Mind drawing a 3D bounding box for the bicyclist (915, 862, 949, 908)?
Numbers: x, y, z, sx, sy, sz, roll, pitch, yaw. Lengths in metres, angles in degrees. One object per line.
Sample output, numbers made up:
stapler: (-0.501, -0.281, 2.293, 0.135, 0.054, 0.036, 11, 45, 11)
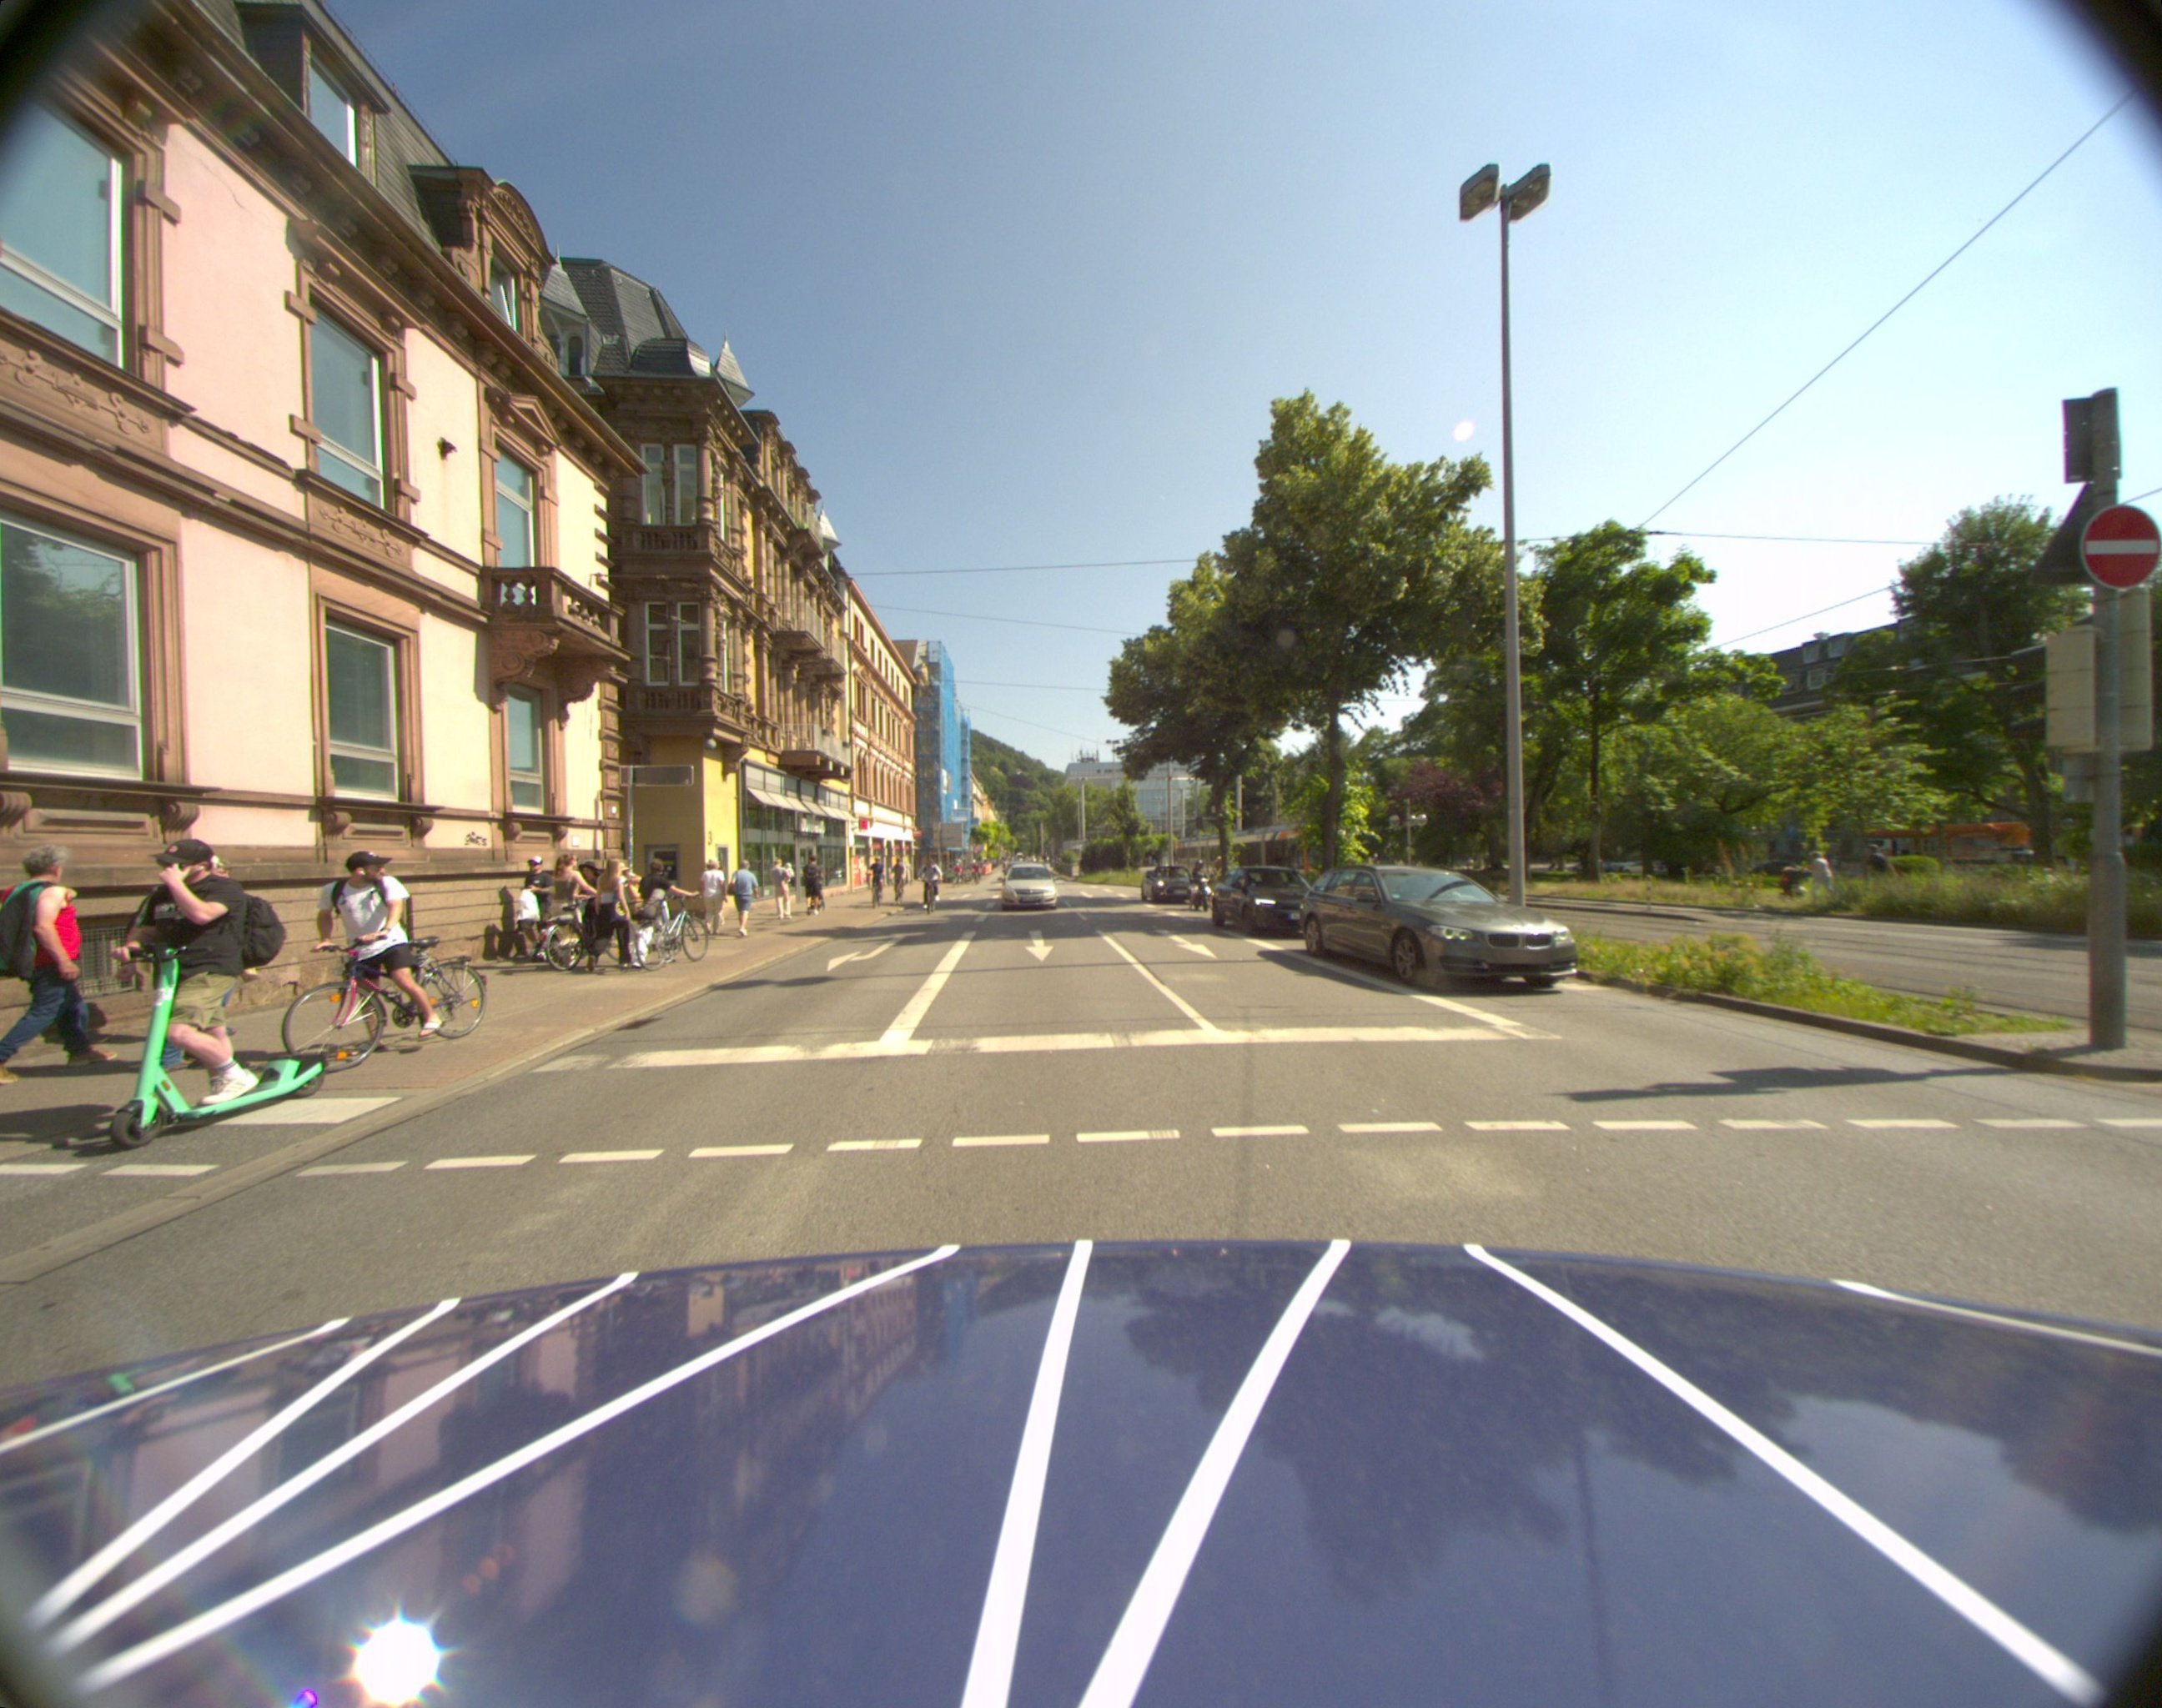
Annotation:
bicyclist: (-4.656, 0.940, 23.768, 0.913, 1.385, 1.232, 0, 0, -5)

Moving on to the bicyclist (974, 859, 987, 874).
bicyclist: (-7.156, 0.890, 54.202, 0.913, 1.076, 1.232, 0, 0, -5)

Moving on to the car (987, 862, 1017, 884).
car: (-5.966, 1.396, 57.834, 1.999, 1.564, 3.999, -2, 0, -3)

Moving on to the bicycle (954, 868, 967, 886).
bicycle: (-7.734, 1.460, 48.723, 0.643, 1.076, 2.495, 0, 0, -5)

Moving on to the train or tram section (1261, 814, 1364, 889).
train or tram section: (11.120, -0.091, 37.082, 2.768, 3.383, 5.884, 0, 0, -5)

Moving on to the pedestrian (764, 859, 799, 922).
pedestrian: (-8.240, 0.994, 20.900, 0.707, 1.685, 0.628, 0, 1, -2)

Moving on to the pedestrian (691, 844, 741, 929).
pedestrian: (-8.919, 0.780, 18.570, 0.814, 2.002, 0.815, 2, 0, -5)

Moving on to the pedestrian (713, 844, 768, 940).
pedestrian: (-7.375, 0.805, 16.479, 0.814, 2.002, 0.815, 2, 0, -5)

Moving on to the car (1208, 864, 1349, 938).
car: (4.121, 0.934, 16.563, 1.798, 1.403, 3.999, 0, -1, -4)

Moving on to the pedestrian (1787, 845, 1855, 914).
pedestrian: (21.673, 0.737, 22.275, 1.224, 2.002, 0.802, 0, 0, 2)

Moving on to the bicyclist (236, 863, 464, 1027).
bicyclist: (-5.878, 0.688, 6.191, 0.923, 1.212, 0.971, 0, 0, -5)

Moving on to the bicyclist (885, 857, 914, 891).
bicyclist: (-6.895, 0.751, 28.905, 0.913, 1.227, 1.232, -1, 0, -5)

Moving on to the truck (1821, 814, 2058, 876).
truck: (64.724, -0.615, 58.038, 3.633, 4.237, 11.801, 0, 0, -10)

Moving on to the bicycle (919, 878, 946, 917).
bicycle: (-4.632, 1.324, 23.785, 0.644, 1.076, 2.495, 0, 0, -7)

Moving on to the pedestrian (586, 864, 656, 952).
pedestrian: (-8.675, 0.998, 14.367, 0.814, 1.593, 0.815, 2, 0, -5)

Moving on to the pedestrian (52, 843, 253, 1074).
pedestrian: (-8.139, 0.864, 6.712, 0.636, 1.880, 0.903, -2, 0, -6)

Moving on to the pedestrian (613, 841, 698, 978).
pedestrian: (-6.462, 0.821, 11.591, 0.814, 2.002, 0.815, 2, 0, -5)

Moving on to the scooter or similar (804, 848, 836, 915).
scooter or similar: (-8.061, 0.836, 23.501, 0.694, 2.002, 1.095, 0, 0, -5)

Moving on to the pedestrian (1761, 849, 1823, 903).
pedestrian: (21.728, 0.670, 23.235, 1.038, 1.610, 0.934, 0, 0, 2)

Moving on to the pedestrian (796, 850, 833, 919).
pedestrian: (-7.912, 0.895, 22.608, 0.814, 2.002, 0.815, 2, 0, -5)

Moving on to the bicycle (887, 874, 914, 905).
bicycle: (-6.877, 1.341, 29.050, 0.643, 1.076, 2.495, 0, 0, -5)

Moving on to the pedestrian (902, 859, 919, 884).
pedestrian: (-11.260, 1.143, 50.114, 0.913, 1.591, 1.232, 0, 0, -5)

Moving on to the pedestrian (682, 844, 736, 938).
pedestrian: (-8.086, 0.783, 16.539, 0.814, 2.002, 0.815, 0, 0, -5)

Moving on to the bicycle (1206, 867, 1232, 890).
bicycle: (7.018, 1.222, 38.826, 0.643, 1.077, 2.495, -1, 1, -5)

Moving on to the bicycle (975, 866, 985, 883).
bicycle: (-7.204, 1.446, 54.239, 0.643, 1.077, 2.495, -1, 1, -5)

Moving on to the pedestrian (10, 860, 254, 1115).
pedestrian: (-7.089, 0.929, 5.740, 0.707, 1.758, 0.902, 0, 0, -6)

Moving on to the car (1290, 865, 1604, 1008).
car: (4.596, 0.926, 10.532, 1.753, 1.477, 4.745, 0, 0, -5)

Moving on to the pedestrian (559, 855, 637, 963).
pedestrian: (-8.284, 0.915, 13.066, 0.814, 1.782, 0.815, 2, 0, -5)

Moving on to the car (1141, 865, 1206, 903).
car: (3.375, 1.066, 28.390, 1.638, 1.301, 3.912, 0, 0, -5)

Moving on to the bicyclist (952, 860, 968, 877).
bicyclist: (-7.779, 0.922, 48.832, 0.913, 1.062, 1.232, 0, 0, -5)

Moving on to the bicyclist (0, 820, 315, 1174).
bicyclist: (-5.690, 0.810, 4.745, 0.944, 2.002, 0.829, 0, 0, -5)

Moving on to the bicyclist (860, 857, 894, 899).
bicyclist: (-7.044, 0.820, 26.310, 0.913, 1.428, 1.232, 0, 0, -5)

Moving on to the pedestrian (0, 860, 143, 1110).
pedestrian: (-7.993, 0.926, 5.713, 0.707, 1.743, 0.902, 0, 1, -6)

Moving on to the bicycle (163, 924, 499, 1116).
bicycle: (-5.894, 1.220, 6.216, 0.781, 1.096, 2.137, 0, 0, -6)

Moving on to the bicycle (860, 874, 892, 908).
bicycle: (-7.045, 1.247, 26.197, 0.643, 1.076, 2.495, 0, 0, -5)

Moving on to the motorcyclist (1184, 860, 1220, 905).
motorcyclist: (3.780, 0.882, 23.822, 0.903, 1.350, 0.992, 0, 0, -5)

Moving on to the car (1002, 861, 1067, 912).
car: (-1.619, 0.983, 25.036, 1.803, 1.492, 4.494, 0, 0, -8)

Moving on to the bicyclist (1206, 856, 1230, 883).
bicyclist: (6.992, 0.791, 38.870, 0.913, 1.385, 1.232, 0, 0, -5)

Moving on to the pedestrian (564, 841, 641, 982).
pedestrian: (-7.049, 0.827, 11.217, 0.662, 2.002, 0.699, 2, 0, -5)

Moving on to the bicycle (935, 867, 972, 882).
bicycle: (-9.144, 1.482, 54.602, 2.495, 1.076, 0.644, 0, 0, -1)

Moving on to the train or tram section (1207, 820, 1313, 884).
train or tram section: (10.486, -0.069, 46.271, 2.768, 3.383, 12.407, 0, 0, -4)

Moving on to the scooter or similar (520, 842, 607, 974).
scooter or similar: (-8.225, 0.823, 12.126, 0.694, 2.002, 1.095, 0, 0, -5)

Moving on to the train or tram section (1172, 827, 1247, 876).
train or tram section: (9.589, -0.158, 58.569, 2.768, 3.383, 12.407, 0, 0, -4)

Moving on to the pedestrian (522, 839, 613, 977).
pedestrian: (-7.779, 0.795, 11.549, 0.814, 2.002, 0.815, 2, 0, -5)

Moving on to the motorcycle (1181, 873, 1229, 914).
motorcycle: (3.830, 1.185, 23.616, 0.903, 1.156, 2.352, 0, 0, -5)

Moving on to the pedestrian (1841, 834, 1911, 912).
pedestrian: (22.380, 0.528, 21.396, 1.126, 2.138, 0.802, 0, 0, 2)
